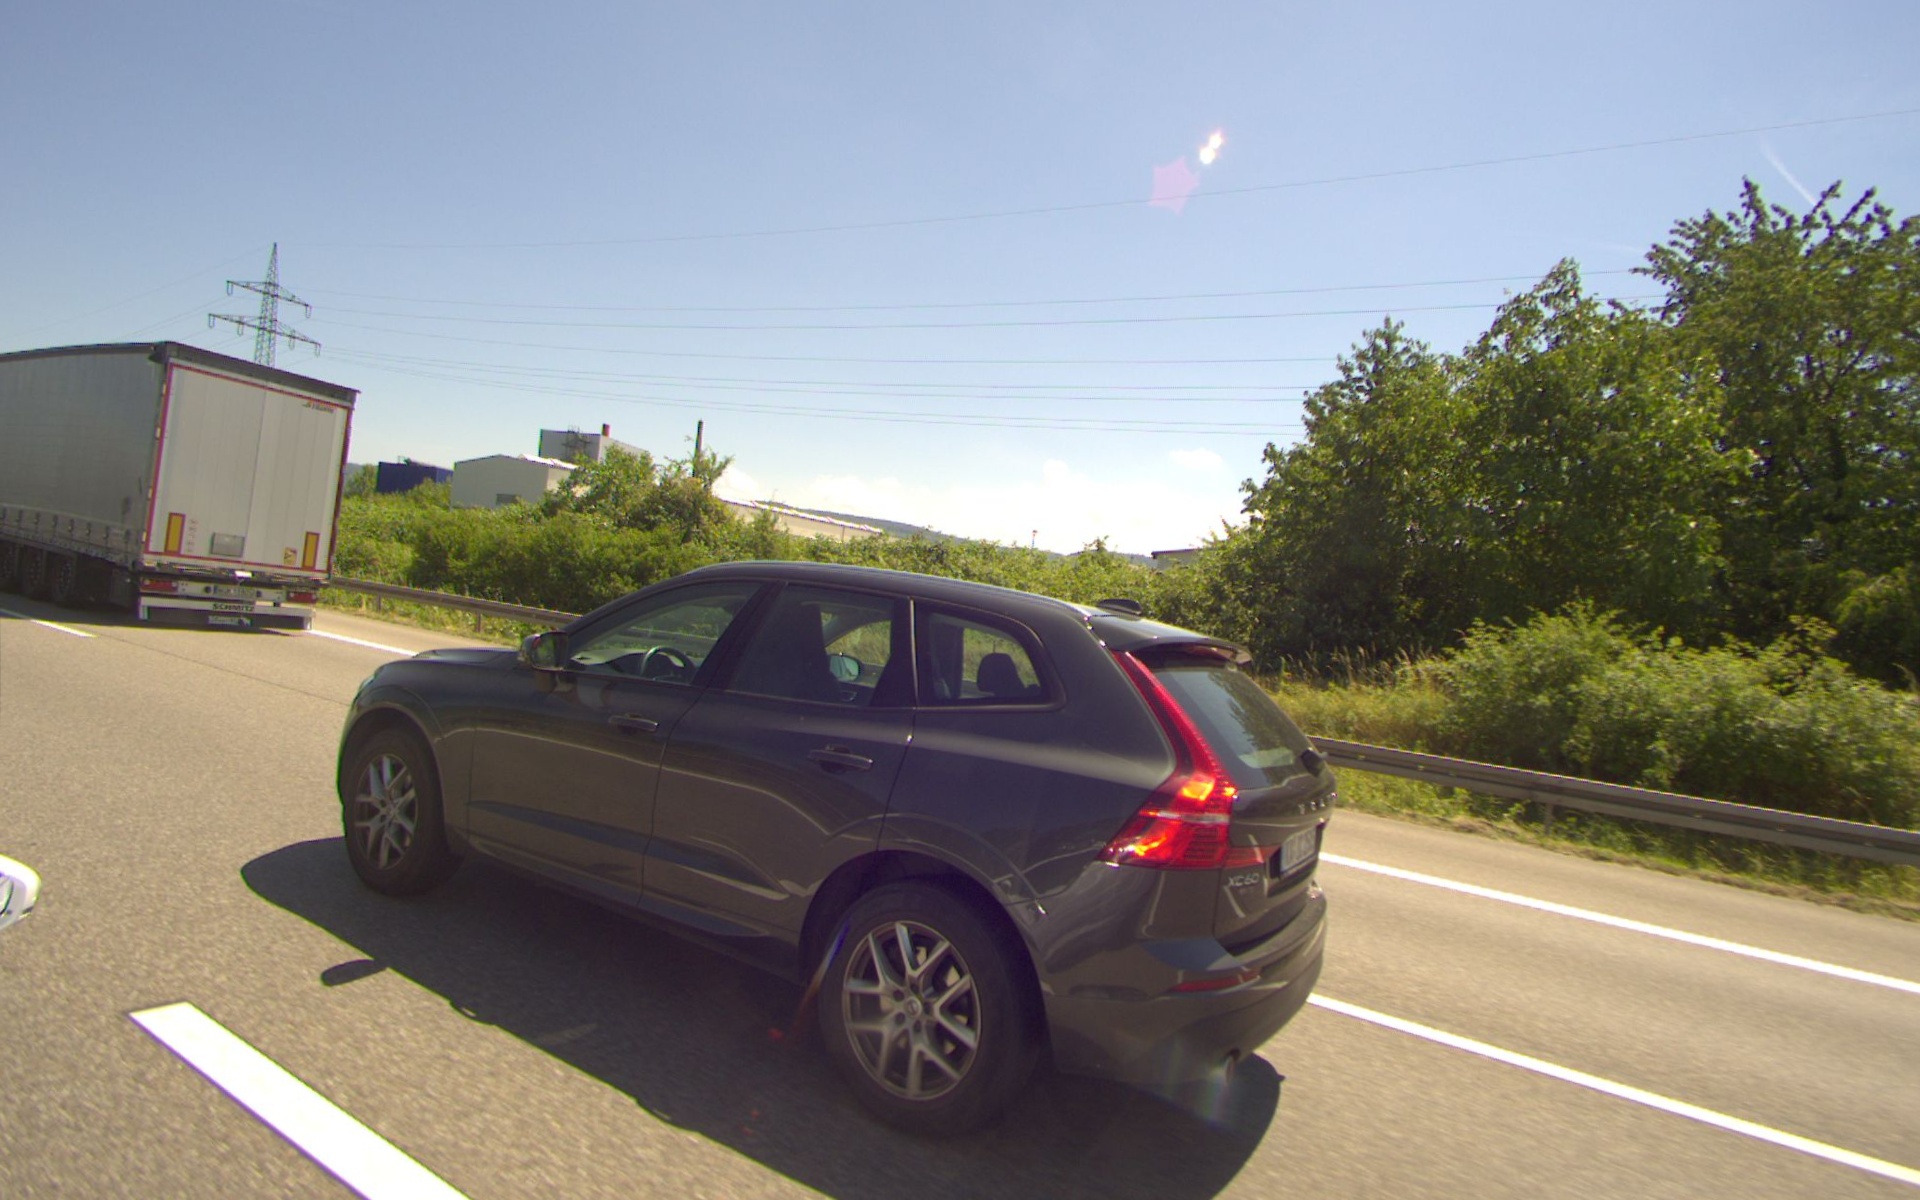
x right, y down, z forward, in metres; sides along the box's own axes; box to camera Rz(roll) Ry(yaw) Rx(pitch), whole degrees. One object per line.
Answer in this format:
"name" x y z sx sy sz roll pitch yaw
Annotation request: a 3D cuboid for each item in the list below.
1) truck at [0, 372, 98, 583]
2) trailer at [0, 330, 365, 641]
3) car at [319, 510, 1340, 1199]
"truck" -22.299 -2.851 22.365 6.023 4.169 2.740 6 -1 32
"trailer" -15.975 -2.142 18.412 12.904 4.155 2.740 6 -1 32
"car" -0.676 0.678 4.356 3.937 1.642 1.877 7 -1 31
